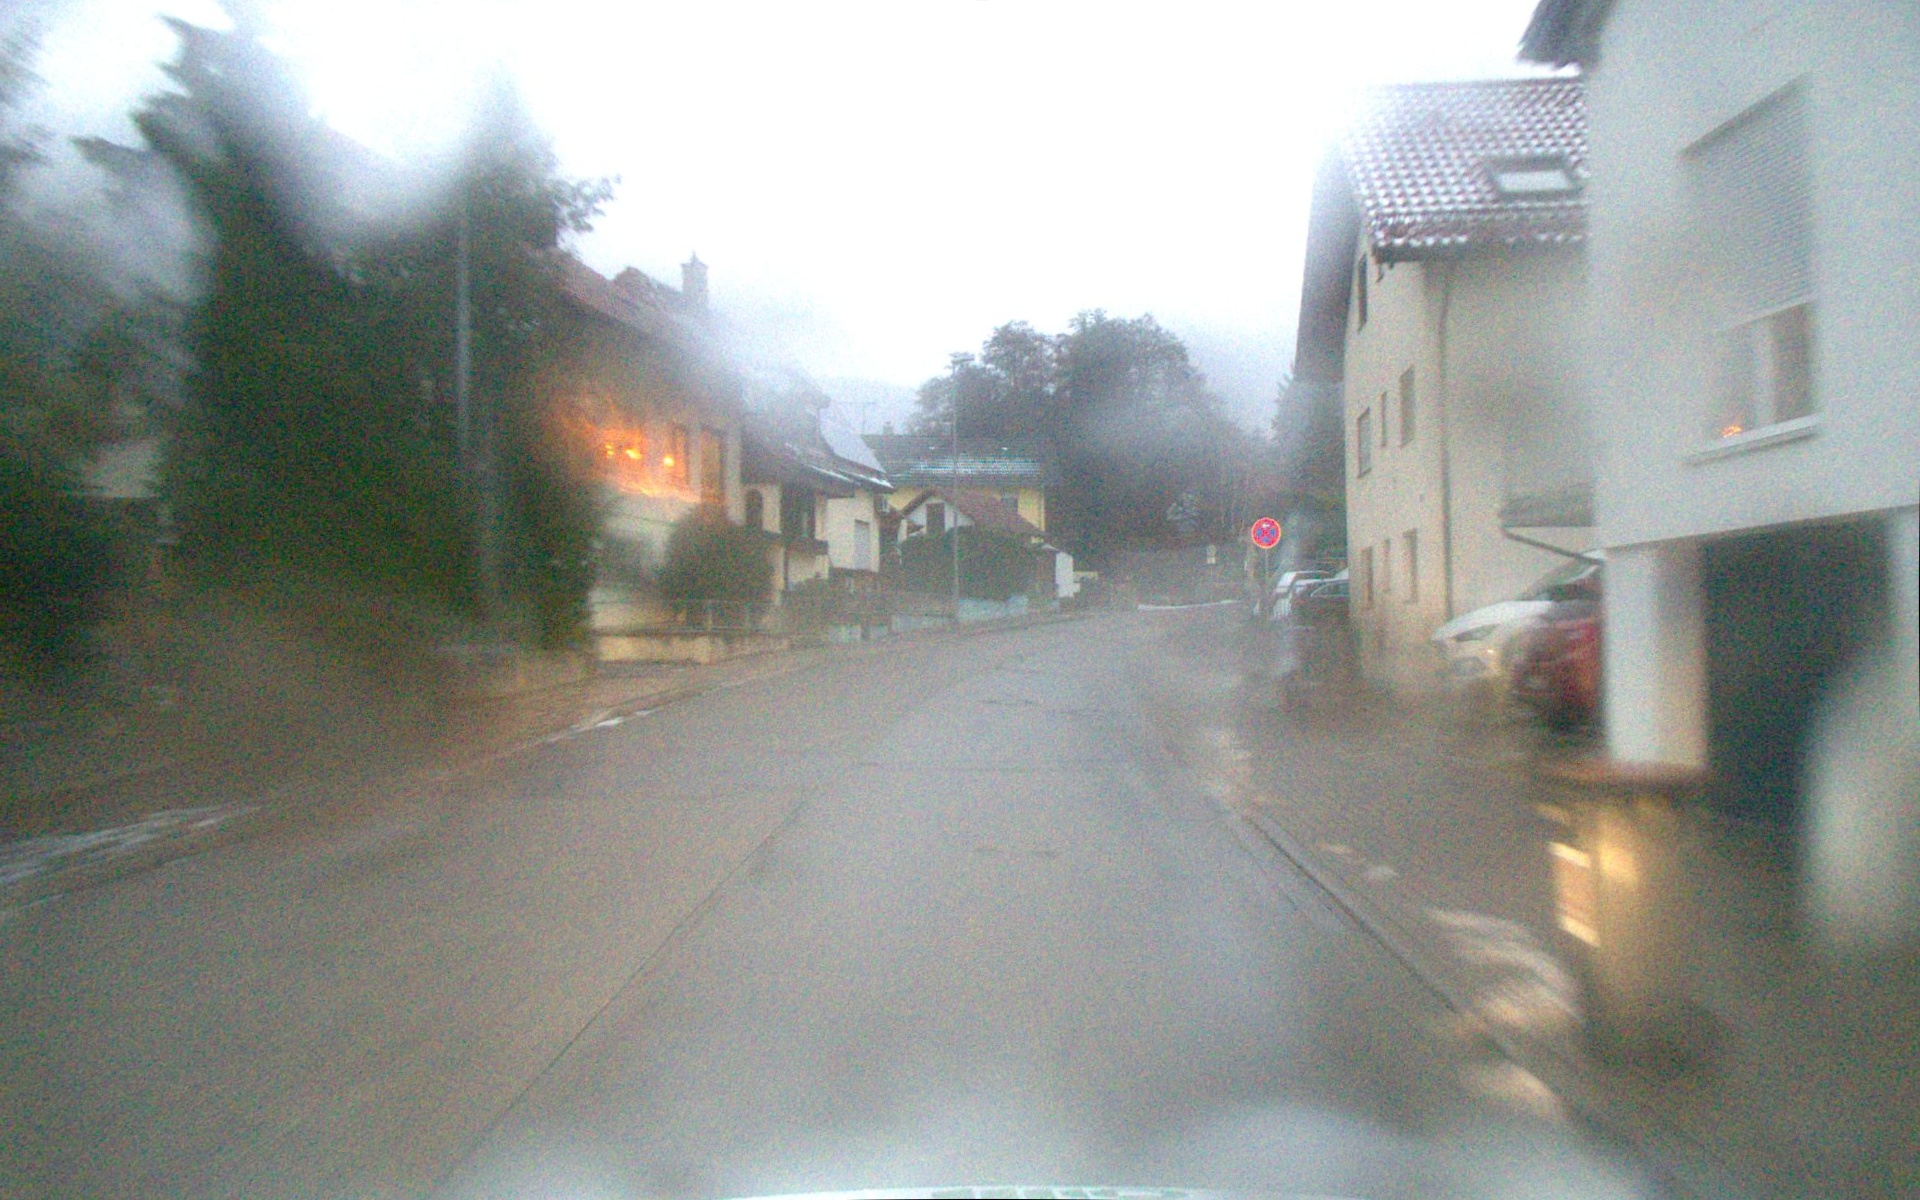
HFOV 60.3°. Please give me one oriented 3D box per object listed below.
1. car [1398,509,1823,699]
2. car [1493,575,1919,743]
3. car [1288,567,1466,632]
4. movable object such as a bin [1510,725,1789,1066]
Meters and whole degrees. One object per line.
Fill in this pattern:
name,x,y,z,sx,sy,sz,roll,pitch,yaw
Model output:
car,7.582,0.044,19.593,4.195,1.481,1.780,-9,0,3
car,7.250,0.517,15.583,3.907,1.482,1.689,0,0,-3
car,10.934,-0.021,43.689,4.408,1.468,2.002,-3,1,12
movable object such as a bin,2.215,0.930,5.378,0.601,0.963,0.595,-5,-1,3
